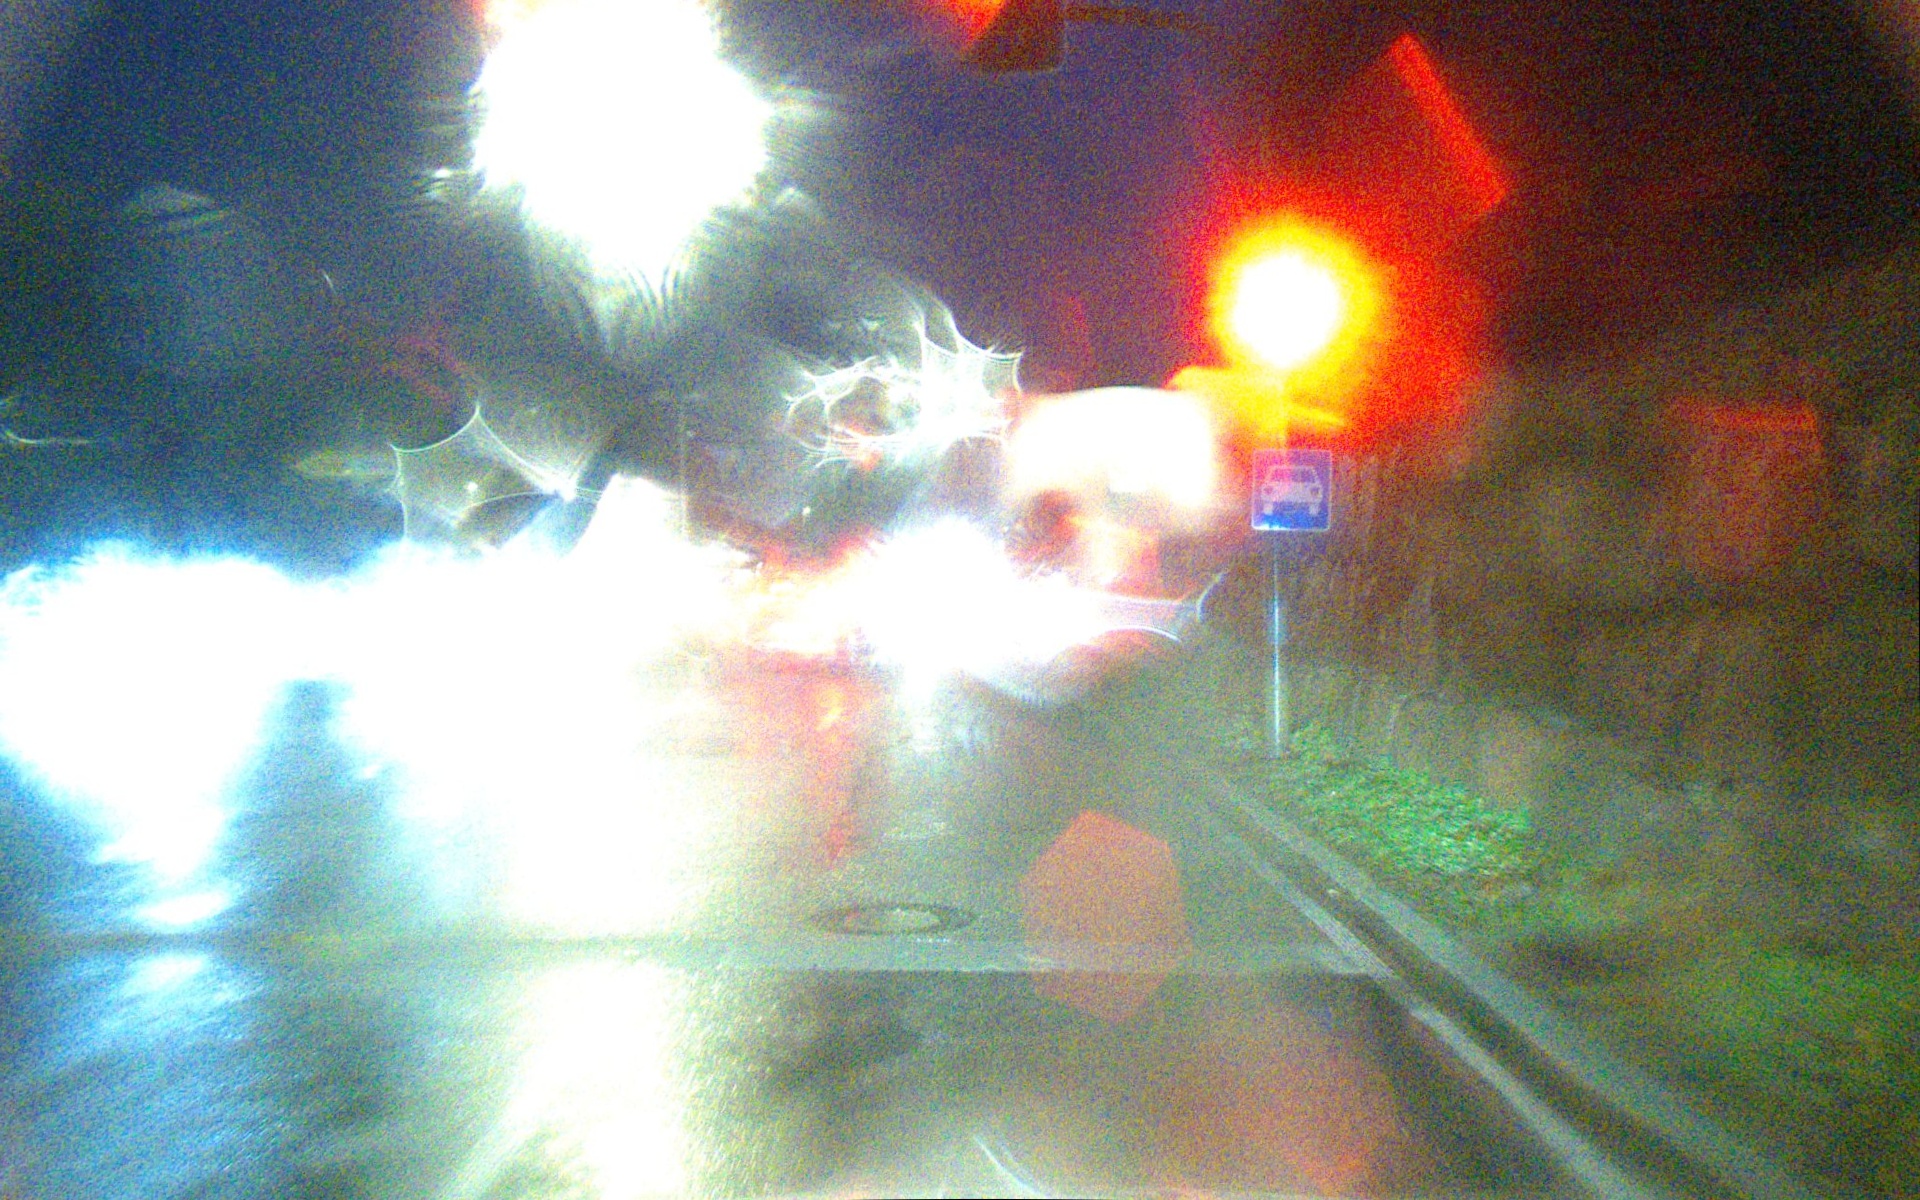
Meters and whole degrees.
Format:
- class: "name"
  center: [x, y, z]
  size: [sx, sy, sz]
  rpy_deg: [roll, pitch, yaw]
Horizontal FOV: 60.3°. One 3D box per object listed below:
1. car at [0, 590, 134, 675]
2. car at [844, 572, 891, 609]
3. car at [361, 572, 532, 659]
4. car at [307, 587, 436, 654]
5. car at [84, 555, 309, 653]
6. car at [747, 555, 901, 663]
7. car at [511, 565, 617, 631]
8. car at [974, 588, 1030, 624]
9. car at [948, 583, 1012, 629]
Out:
- class: "car"
  center: [-21.283, 0.729, 37.958]
  size: [3.957, 1.863, 1.699]
  rpy_deg: [-1, 1, -37]
- class: "car"
  center: [-4.471, -0.455, 80.589]
  size: [1.681, 1.733, 4.145]
  rpy_deg: [0, 0, 5]
- class: "car"
  center: [-10.090, 0.269, 32.893]
  size: [1.663, 1.599, 4.714]
  rpy_deg: [0, 0, 4]
- class: "car"
  center: [-13.649, 0.461, 38.570]
  size: [1.633, 1.479, 3.728]
  rpy_deg: [0, 0, 0]
- class: "car"
  center: [-13.474, 0.045, 29.565]
  size: [1.755, 1.599, 4.914]
  rpy_deg: [0, 0, 0]
- class: "car"
  center: [-2.160, 0.152, 27.402]
  size: [1.952, 1.639, 4.104]
  rpy_deg: [0, 0, 4]
- class: "car"
  center: [-9.822, -0.036, 41.249]
  size: [1.552, 1.552, 3.653]
  rpy_deg: [0, 0, 3]
- class: "car"
  center: [1.623, 0.245, 65.026]
  size: [2.064, 1.363, 4.294]
  rpy_deg: [0, 0, 0]
- class: "car"
  center: [0.640, 0.202, 55.106]
  size: [2.060, 1.464, 3.999]
  rpy_deg: [0, 0, 0]
